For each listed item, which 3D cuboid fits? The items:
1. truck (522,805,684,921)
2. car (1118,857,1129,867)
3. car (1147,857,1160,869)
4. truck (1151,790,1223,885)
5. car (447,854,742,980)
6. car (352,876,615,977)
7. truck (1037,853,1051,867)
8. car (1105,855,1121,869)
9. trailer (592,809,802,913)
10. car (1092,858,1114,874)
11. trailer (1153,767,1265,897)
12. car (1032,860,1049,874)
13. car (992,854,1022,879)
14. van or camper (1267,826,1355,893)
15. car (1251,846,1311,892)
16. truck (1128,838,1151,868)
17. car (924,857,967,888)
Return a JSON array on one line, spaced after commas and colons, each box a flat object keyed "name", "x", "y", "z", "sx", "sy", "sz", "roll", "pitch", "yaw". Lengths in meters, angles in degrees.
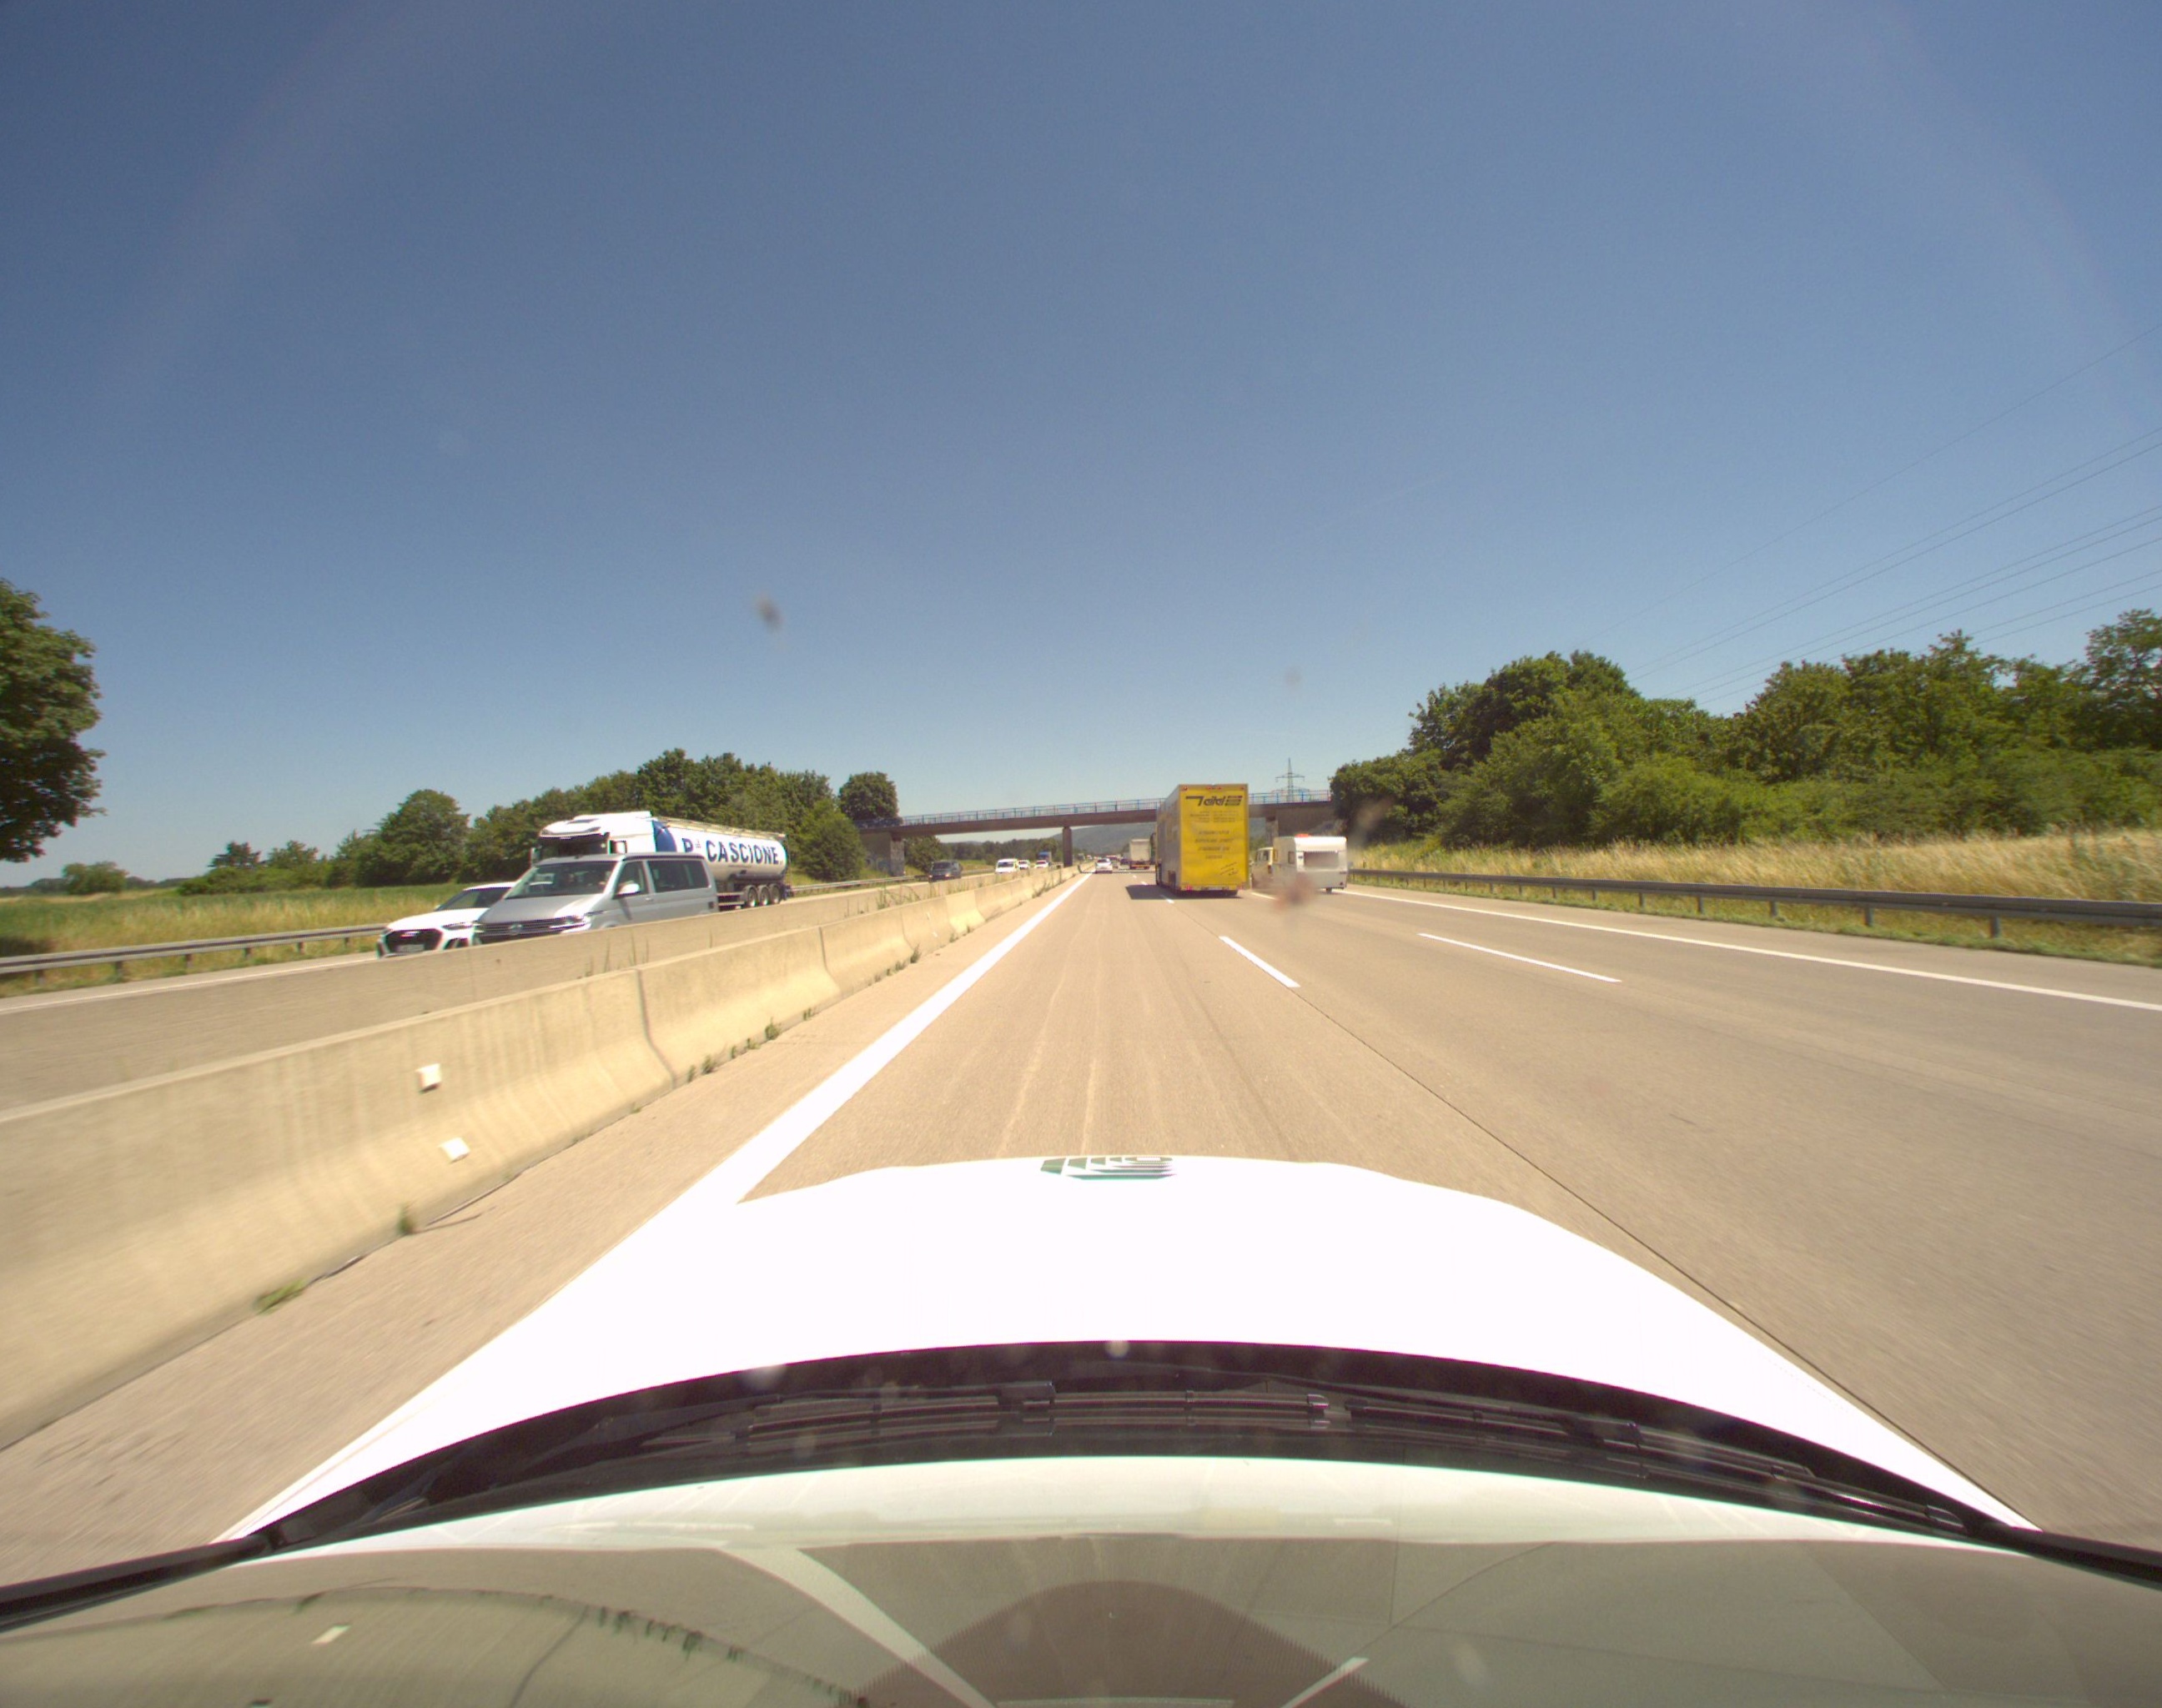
[{"name": "truck", "x": -15.954, "y": 0.284, "z": 27.584, "sx": 2.592, "sy": 3.589, "sz": 4.721, "roll": 0, "pitch": 0, "yaw": 1}, {"name": "car", "x": 8.527, "y": 1.608, "z": 164.432, "sx": 2.214, "sy": 2.013, "sz": 4.001, "roll": 0, "pitch": 0, "yaw": 1}, {"name": "car", "x": 12.684, "y": 1.611, "z": 141.987, "sx": 1.986, "sy": 2.013, "sz": 4.001, "roll": 0, "pitch": 0, "yaw": 2}, {"name": "truck", "x": 5.406, "y": -0.792, "z": 42.474, "sx": 3.203, "sy": 4.563, "sz": 5.839, "roll": 0, "pitch": 0, "yaw": 2}, {"name": "car", "x": -8.229, "y": 0.933, "z": 14.544, "sx": 1.986, "sy": 1.735, "sz": 5.116, "roll": -4, "pitch": 0, "yaw": 1}, {"name": "car", "x": -12.276, "y": 1.397, "z": 17.244, "sx": 1.916, "sy": 1.611, "sz": 4.687, "roll": -3, "pitch": 0, "yaw": 2}, {"name": "truck", "x": -9.718, "y": 1.498, "z": 214.491, "sx": 2.974, "sy": 3.560, "sz": 7.495, "roll": 0, "pitch": 0, "yaw": 2}, {"name": "car", "x": 4.707, "y": 1.181, "z": 119.318, "sx": 2.245, "sy": 2.013, "sz": 4.300, "roll": 0, "pitch": 0, "yaw": 3}, {"name": "trailer", "x": -15.711, "y": 0.244, "z": 35.048, "sx": 2.564, "sy": 3.630, "sz": 12.860, "roll": 0, "pitch": 0, "yaw": 2}, {"name": "car", "x": 2.216, "y": 1.141, "z": 81.154, "sx": 2.098, "sy": 1.536, "sz": 4.125, "roll": 0, "pitch": 0, "yaw": 3}, {"name": "trailer", "x": 5.116, "y": -0.788, "z": 35.476, "sx": 3.203, "sy": 4.563, "sz": 13.463, "roll": 0, "pitch": 0, "yaw": 2}, {"name": "car", "x": -5.403, "y": 1.749, "z": 110.472, "sx": 1.859, "sy": 1.839, "sz": 4.790, "roll": -2, "pitch": 0, "yaw": 2}, {"name": "car", "x": -6.318, "y": 1.039, "z": 69.987, "sx": 1.859, "sy": 1.980, "sz": 4.790, "roll": -3, "pitch": 0, "yaw": 2}, {"name": "van or camper", "x": 9.360, "y": 0.223, "z": 33.678, "sx": 2.216, "sy": 2.531, "sz": 5.433, "roll": 0, "pitch": 0, "yaw": 2}, {"name": "car", "x": 9.360, "y": 0.664, "z": 38.425, "sx": 1.986, "sy": 2.013, "sz": 4.001, "roll": 0, "pitch": 0, "yaw": 1}, {"name": "truck", "x": 7.737, "y": -0.129, "z": 107.938, "sx": 2.809, "sy": 3.761, "sz": 6.286, "roll": 0, "pitch": 0, "yaw": 2}, {"name": "car", "x": -10.371, "y": 1.341, "z": 62.773, "sx": 1.986, "sy": 2.138, "sz": 5.884, "roll": -4, "pitch": 0, "yaw": 2}]
